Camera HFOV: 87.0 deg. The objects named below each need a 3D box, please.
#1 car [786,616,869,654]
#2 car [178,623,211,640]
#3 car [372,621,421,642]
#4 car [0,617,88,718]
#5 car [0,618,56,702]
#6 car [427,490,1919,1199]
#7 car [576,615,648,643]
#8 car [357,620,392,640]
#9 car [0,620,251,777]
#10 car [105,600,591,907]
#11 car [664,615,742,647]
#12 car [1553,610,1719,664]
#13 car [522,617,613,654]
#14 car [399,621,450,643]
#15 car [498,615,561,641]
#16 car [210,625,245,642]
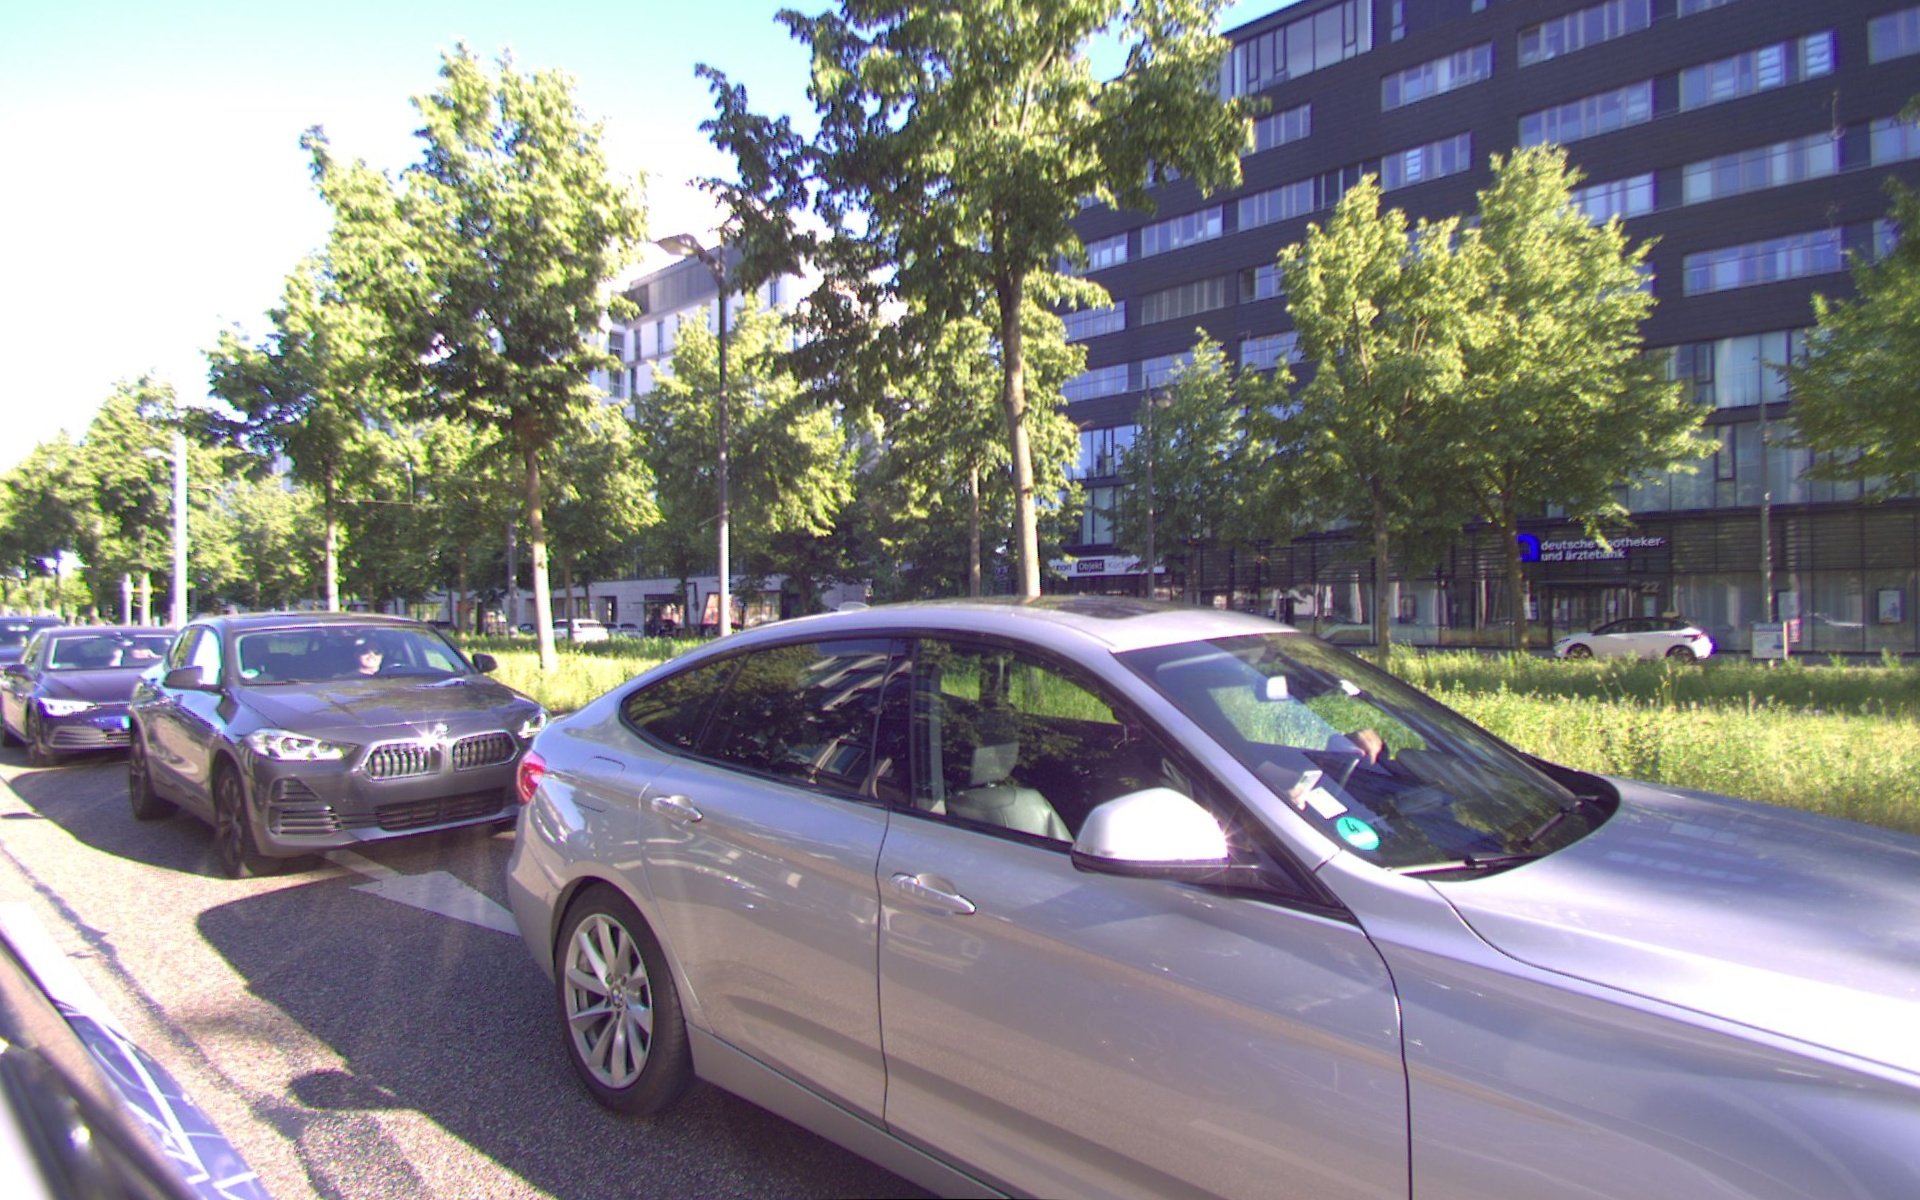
[{"bbox_3d":[-6.462,1.700,49.306,3.998,1.762,1.834,-1,-1,41],"label":"car"},{"bbox_3d":[-78.197,3.208,103.370,4.790,1.742,1.834,-1,-1,41],"label":"car"},{"bbox_3d":[-47.358,2.633,85.010,4.788,1.711,1.986,-1,-1,40],"label":"car"},{"bbox_3d":[-16.792,1.124,17.760,4.164,1.602,1.788,-1,-1,42],"label":"car"},{"bbox_3d":[-21.592,1.276,22.180,4.788,1.711,1.986,-1,-1,40],"label":"car"},{"bbox_3d":[0.493,0.663,2.726,4.739,1.500,1.790,-1,-1,40],"label":"car"},{"bbox_3d":[-21.750,1.803,63.240,4.785,1.711,1.988,-1,-1,38],"label":"car"},{"bbox_3d":[-51.015,2.623,88.162,3.741,1.682,1.581,-1,-1,41],"label":"car"},{"bbox_3d":[-9.777,0.978,11.619,4.253,1.465,1.789,-1,-1,42],"label":"car"},{"bbox_3d":[-4.439,0.810,7.090,4.027,1.534,1.789,-1,-1,41],"label":"car"},{"bbox_3d":[-14.332,1.711,56.338,4.790,1.697,1.834,-1,-1,41],"label":"car"},{"bbox_3d":[20.616,1.104,30.968,4.000,1.516,1.733,-1,-1,43],"label":"car"},{"bbox_3d":[-17.600,1.554,45.309,4.733,1.549,1.834,-1,-1,41],"label":"car"},{"bbox_3d":[-42.973,2.561,81.208,4.788,1.711,1.986,-1,-1,40],"label":"car"},{"bbox_3d":[-29.722,1.914,69.814,4.785,1.711,1.988,-1,-1,38],"label":"car"},{"bbox_3d":[-64.397,2.937,88.899,3.998,1.403,1.644,-1,-1,41],"label":"car"}]
